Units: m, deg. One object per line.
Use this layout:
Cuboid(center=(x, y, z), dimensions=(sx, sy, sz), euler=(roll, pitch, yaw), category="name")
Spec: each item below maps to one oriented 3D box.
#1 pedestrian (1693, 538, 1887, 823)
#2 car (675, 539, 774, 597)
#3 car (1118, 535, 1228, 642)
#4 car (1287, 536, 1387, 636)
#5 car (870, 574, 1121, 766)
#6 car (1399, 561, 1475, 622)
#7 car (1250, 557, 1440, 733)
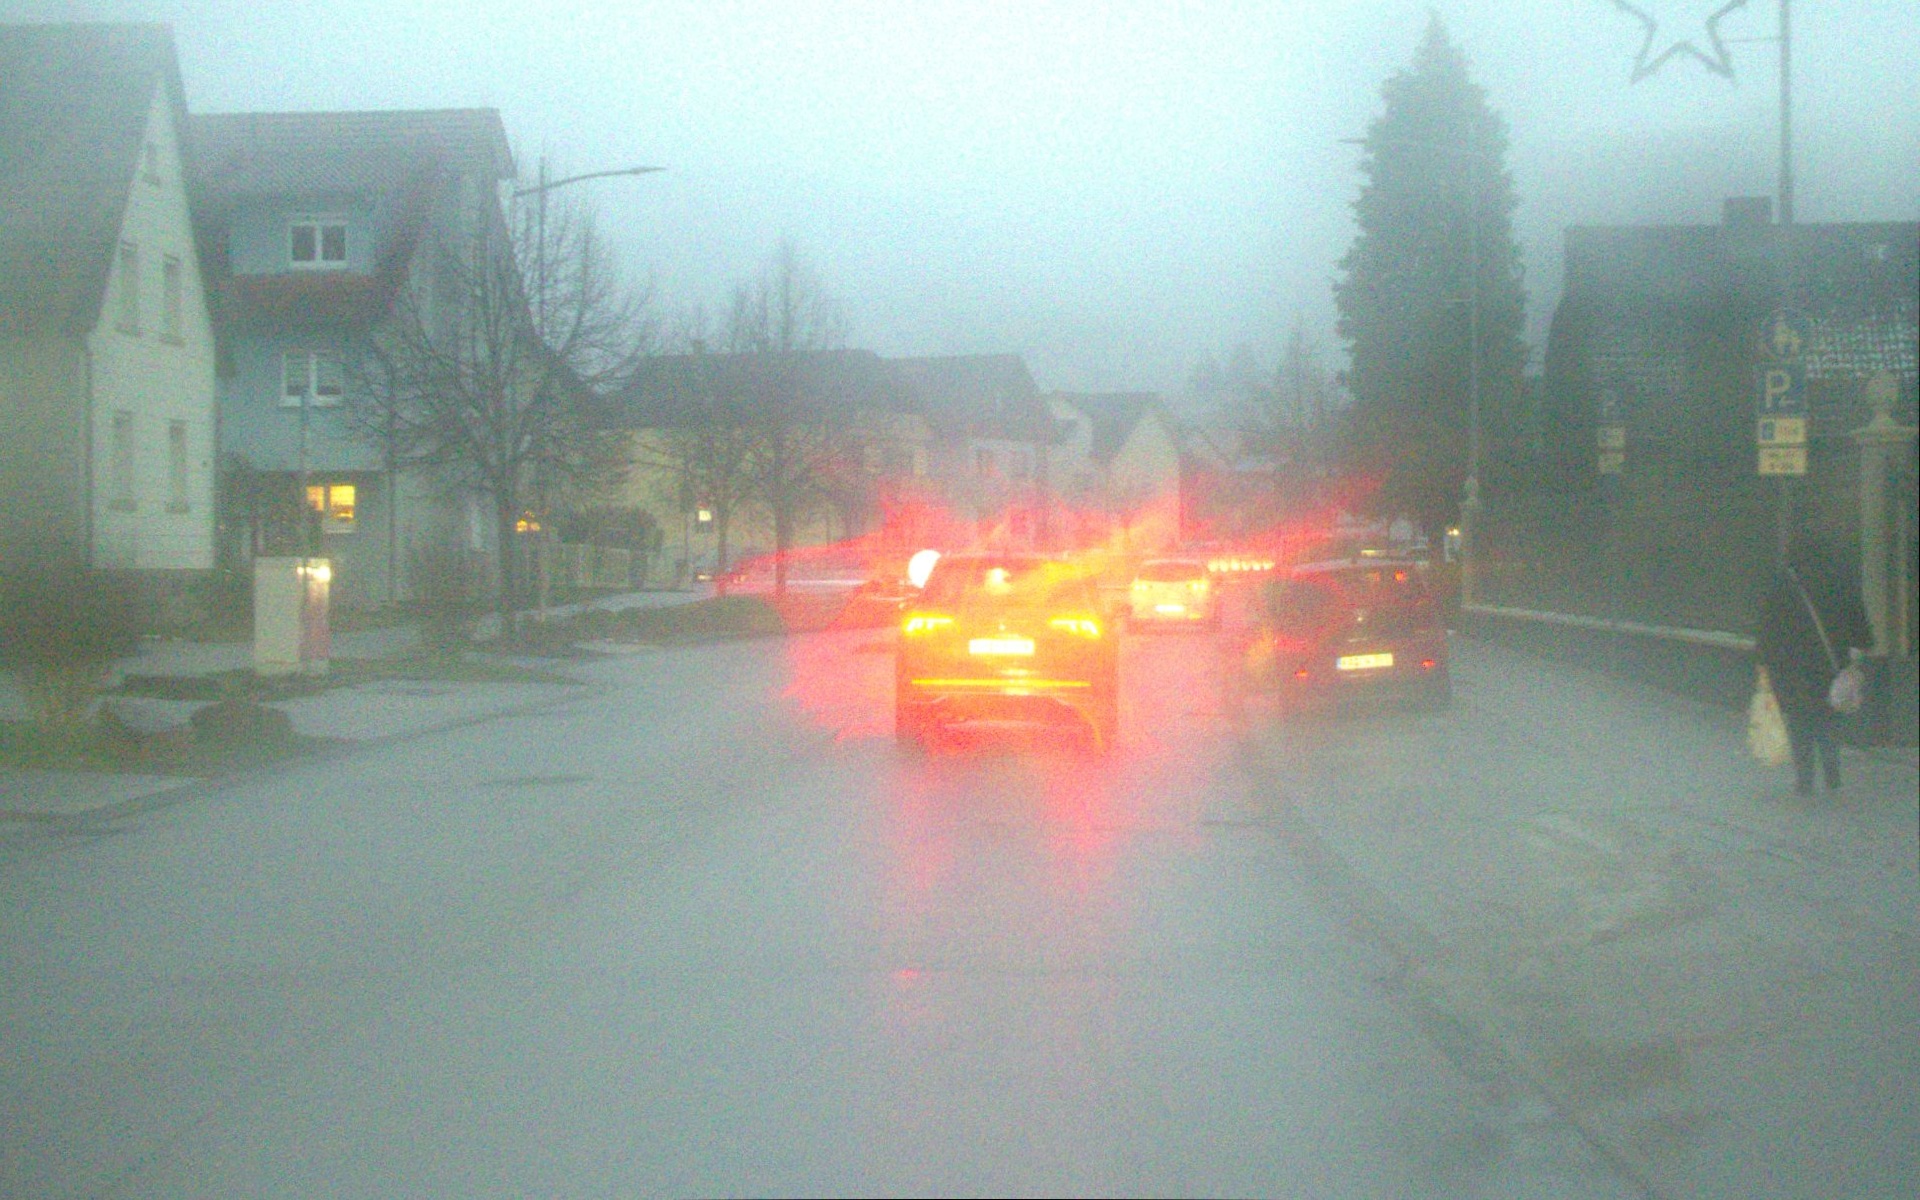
Cuboid(center=(5.224, 0.494, 21.701), dimensions=(0.987, 1.736, 1.056), euler=(-1, 0, 4), category="pedestrian")
Cuboid(center=(-8.608, -1.160, 126.087), dimensions=(1.996, 2.007, 3.995), euler=(3, 1, 23), category="car")
Cuboid(center=(4.160, -0.222, 67.656), dimensions=(1.993, 2.007, 4.000), euler=(1, 0, 2), category="car")
Cuboid(center=(8.094, -0.328, 73.441), dimensions=(1.978, 2.007, 5.744), euler=(-2, 1, 7), category="car")
Cuboid(center=(0.312, 0.550, 29.702), dimensions=(1.993, 1.520, 4.000), euler=(1, 0, 1), category="car")
Cuboid(center=(14.922, -0.282, 107.445), dimensions=(1.746, 1.779, 4.333), euler=(-2, 1, 15), category="car")
Cuboid(center=(3.709, 0.416, 33.548), dimensions=(1.649, 1.535, 3.390), euler=(-3, 0, 5), category="car")
